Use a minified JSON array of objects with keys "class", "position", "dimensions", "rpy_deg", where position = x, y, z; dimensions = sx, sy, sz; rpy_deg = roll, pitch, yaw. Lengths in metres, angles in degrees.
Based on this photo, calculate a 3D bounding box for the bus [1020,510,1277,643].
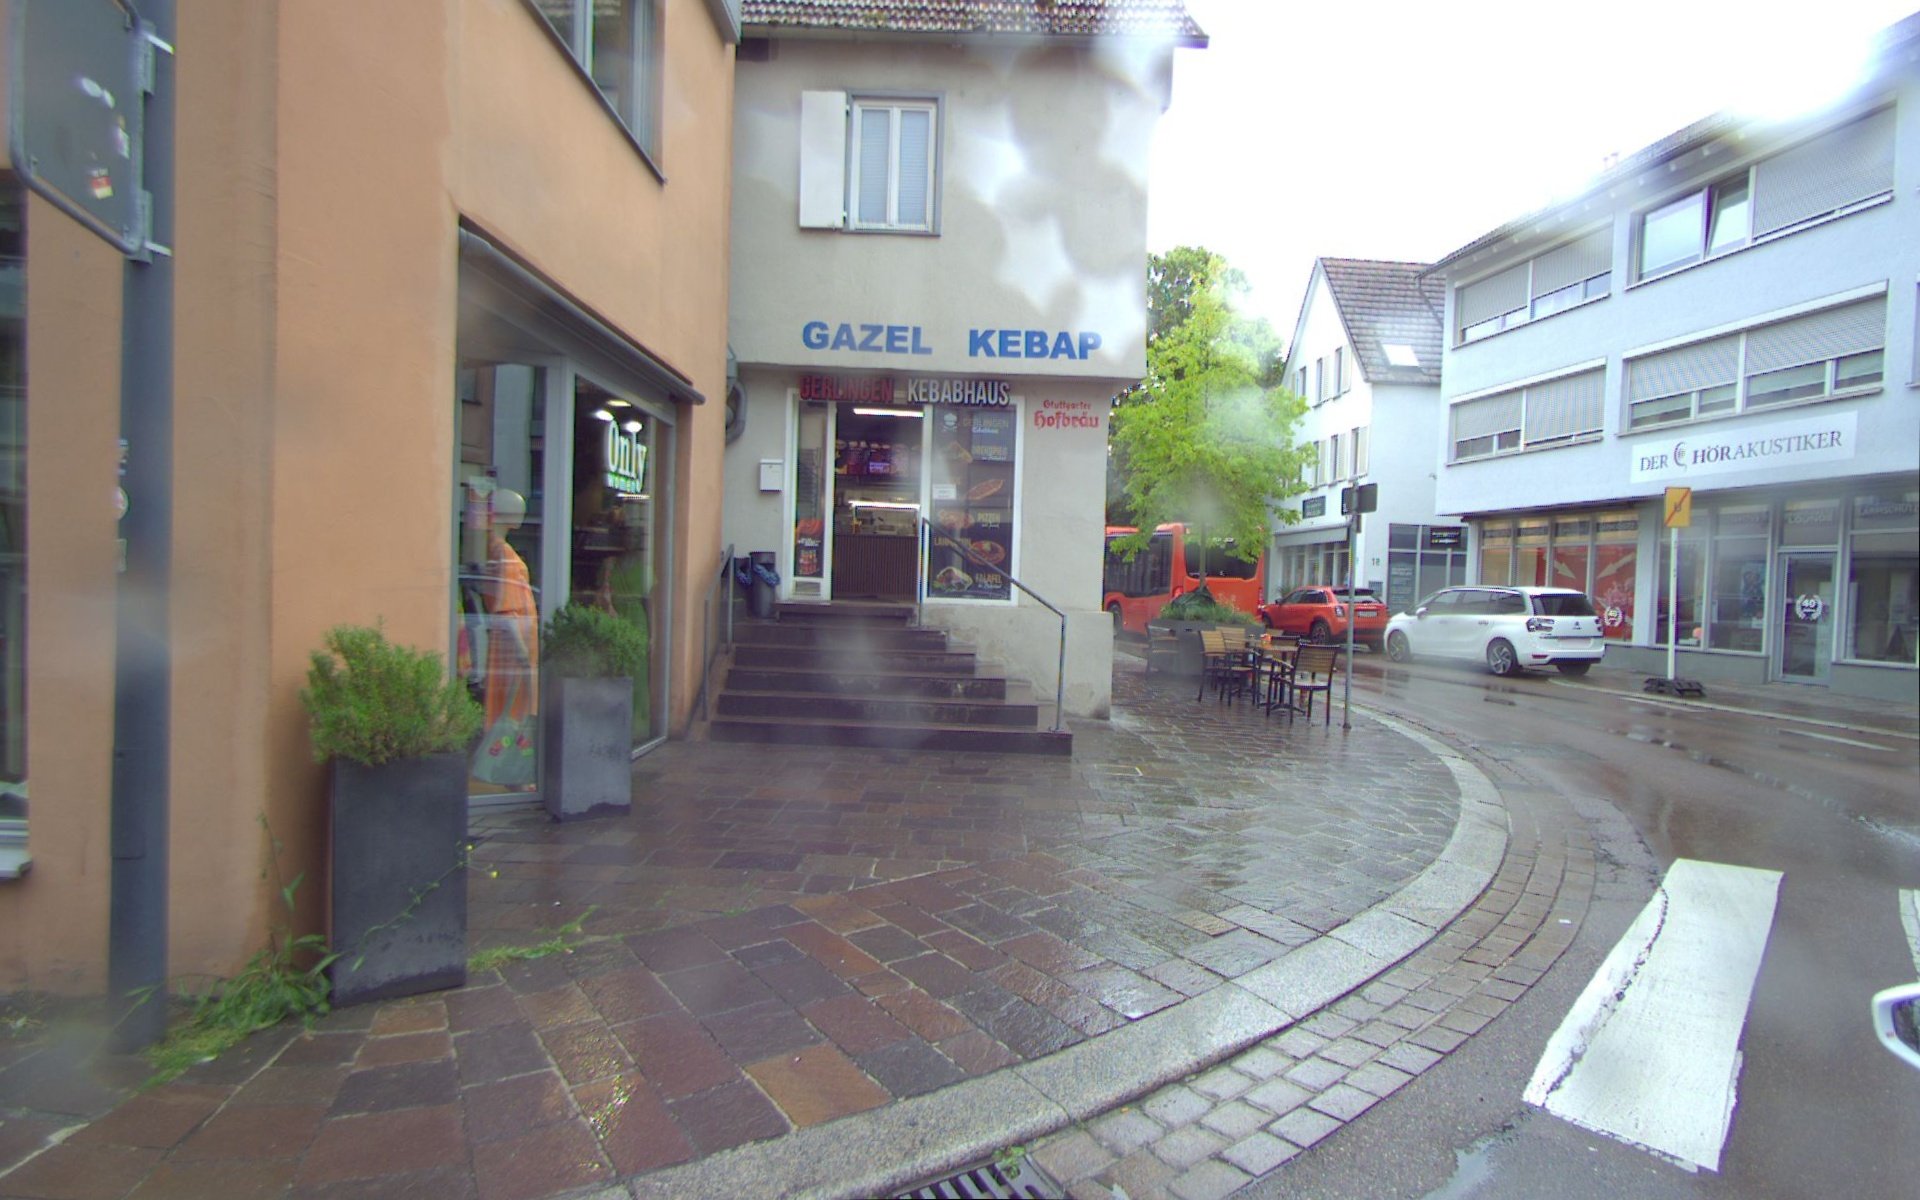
[{"class":"bus","position":[4.894,-0.575,29.271],"dimensions":[2.776,3.130,10.568],"rpy_deg":[1,0,-17]}]

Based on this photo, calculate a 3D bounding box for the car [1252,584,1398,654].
[{"class":"car","position":[9.003,0.416,25.139],"dimensions":[1.653,1.549,3.789],"rpy_deg":[0,2,-12]}]

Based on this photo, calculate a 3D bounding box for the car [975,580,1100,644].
[{"class":"car","position":[1.999,0.283,26.993],"dimensions":[1.702,1.433,3.959],"rpy_deg":[3,1,-22]}]

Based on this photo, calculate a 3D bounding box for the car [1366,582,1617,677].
[{"class":"car","position":[10.290,0.520,19.891],"dimensions":[1.753,1.652,4.453],"rpy_deg":[1,0,-17]}]
